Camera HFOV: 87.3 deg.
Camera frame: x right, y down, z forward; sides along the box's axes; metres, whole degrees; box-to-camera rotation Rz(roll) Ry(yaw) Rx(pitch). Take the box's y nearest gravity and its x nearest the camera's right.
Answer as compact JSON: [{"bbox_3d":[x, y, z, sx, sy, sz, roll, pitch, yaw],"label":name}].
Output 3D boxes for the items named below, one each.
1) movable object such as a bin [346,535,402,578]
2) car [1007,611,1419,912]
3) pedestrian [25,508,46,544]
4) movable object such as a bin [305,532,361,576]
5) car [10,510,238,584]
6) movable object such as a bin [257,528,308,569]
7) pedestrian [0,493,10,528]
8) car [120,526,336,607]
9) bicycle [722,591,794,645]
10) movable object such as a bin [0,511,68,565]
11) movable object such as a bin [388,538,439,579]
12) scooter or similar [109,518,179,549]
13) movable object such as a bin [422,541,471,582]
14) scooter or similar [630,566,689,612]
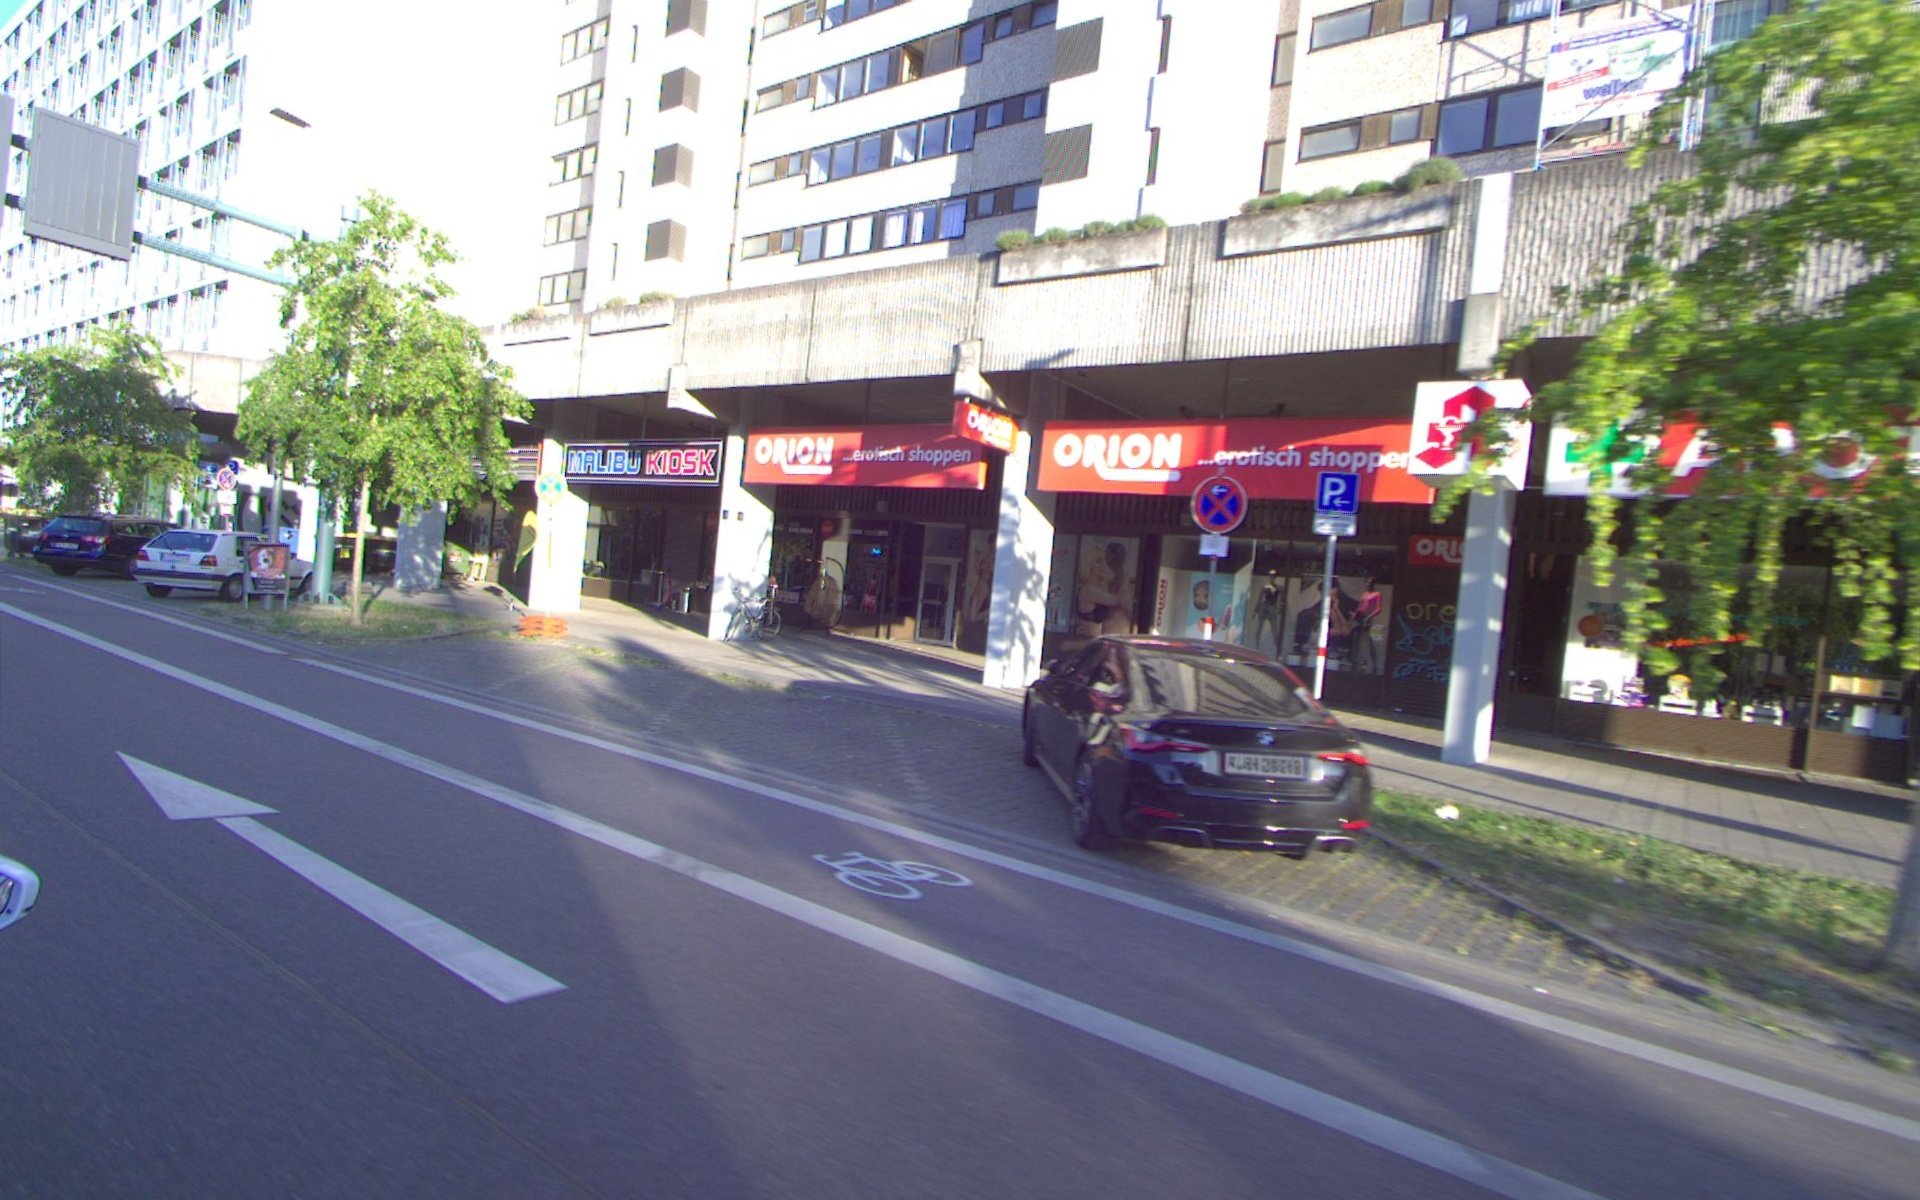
[{"bbox_3d":[-20.444,-1.502,35.115,1.284,1.315,1.181,6,1,35],"label":"movable object such as a bin"},{"bbox_3d":[1.618,1.003,8.259,1.781,1.472,4.600,5,1,-5],"label":"car"},{"bbox_3d":[-44.167,-3.521,48.063,0.632,1.641,0.576,7,3,33],"label":"pedestrian"},{"bbox_3d":[-21.151,-1.561,33.936,1.247,1.341,1.180,6,3,35],"label":"movable object such as a bin"},{"bbox_3d":[-20.509,-1.261,24.999,1.904,1.528,4.663,4,2,-3],"label":"car"},{"bbox_3d":[-24.555,-1.877,36.475,1.263,1.348,1.104,6,3,35],"label":"movable object such as a bin"},{"bbox_3d":[-52.251,-4.899,54.874,0.616,1.837,0.767,1,4,-45],"label":"pedestrian"},{"bbox_3d":[-15.386,-0.694,21.430,1.719,1.435,3.986,5,2,-2],"label":"car"},{"bbox_3d":[-4.236,0.394,21.180,0.426,1.063,1.571,7,3,34],"label":"bicycle"},{"bbox_3d":[-25.134,-1.673,27.231,1.338,1.319,1.085,6,3,30],"label":"movable object such as a bin"},{"bbox_3d":[-19.680,-1.488,36.229,1.107,1.330,1.181,6,1,34],"label":"movable object such as a bin"},{"bbox_3d":[-37.232,-3.020,45.920,0.611,1.198,2.371,7,2,35],"label":"scooter or similar"},{"bbox_3d":[-19.043,-1.421,37.319,1.071,1.330,1.181,6,1,34],"label":"movable object such as a bin"},{"bbox_3d":[-8.992,-0.336,30.078,1.798,1.174,0.402,7,-1,27],"label":"scooter or similar"}]
